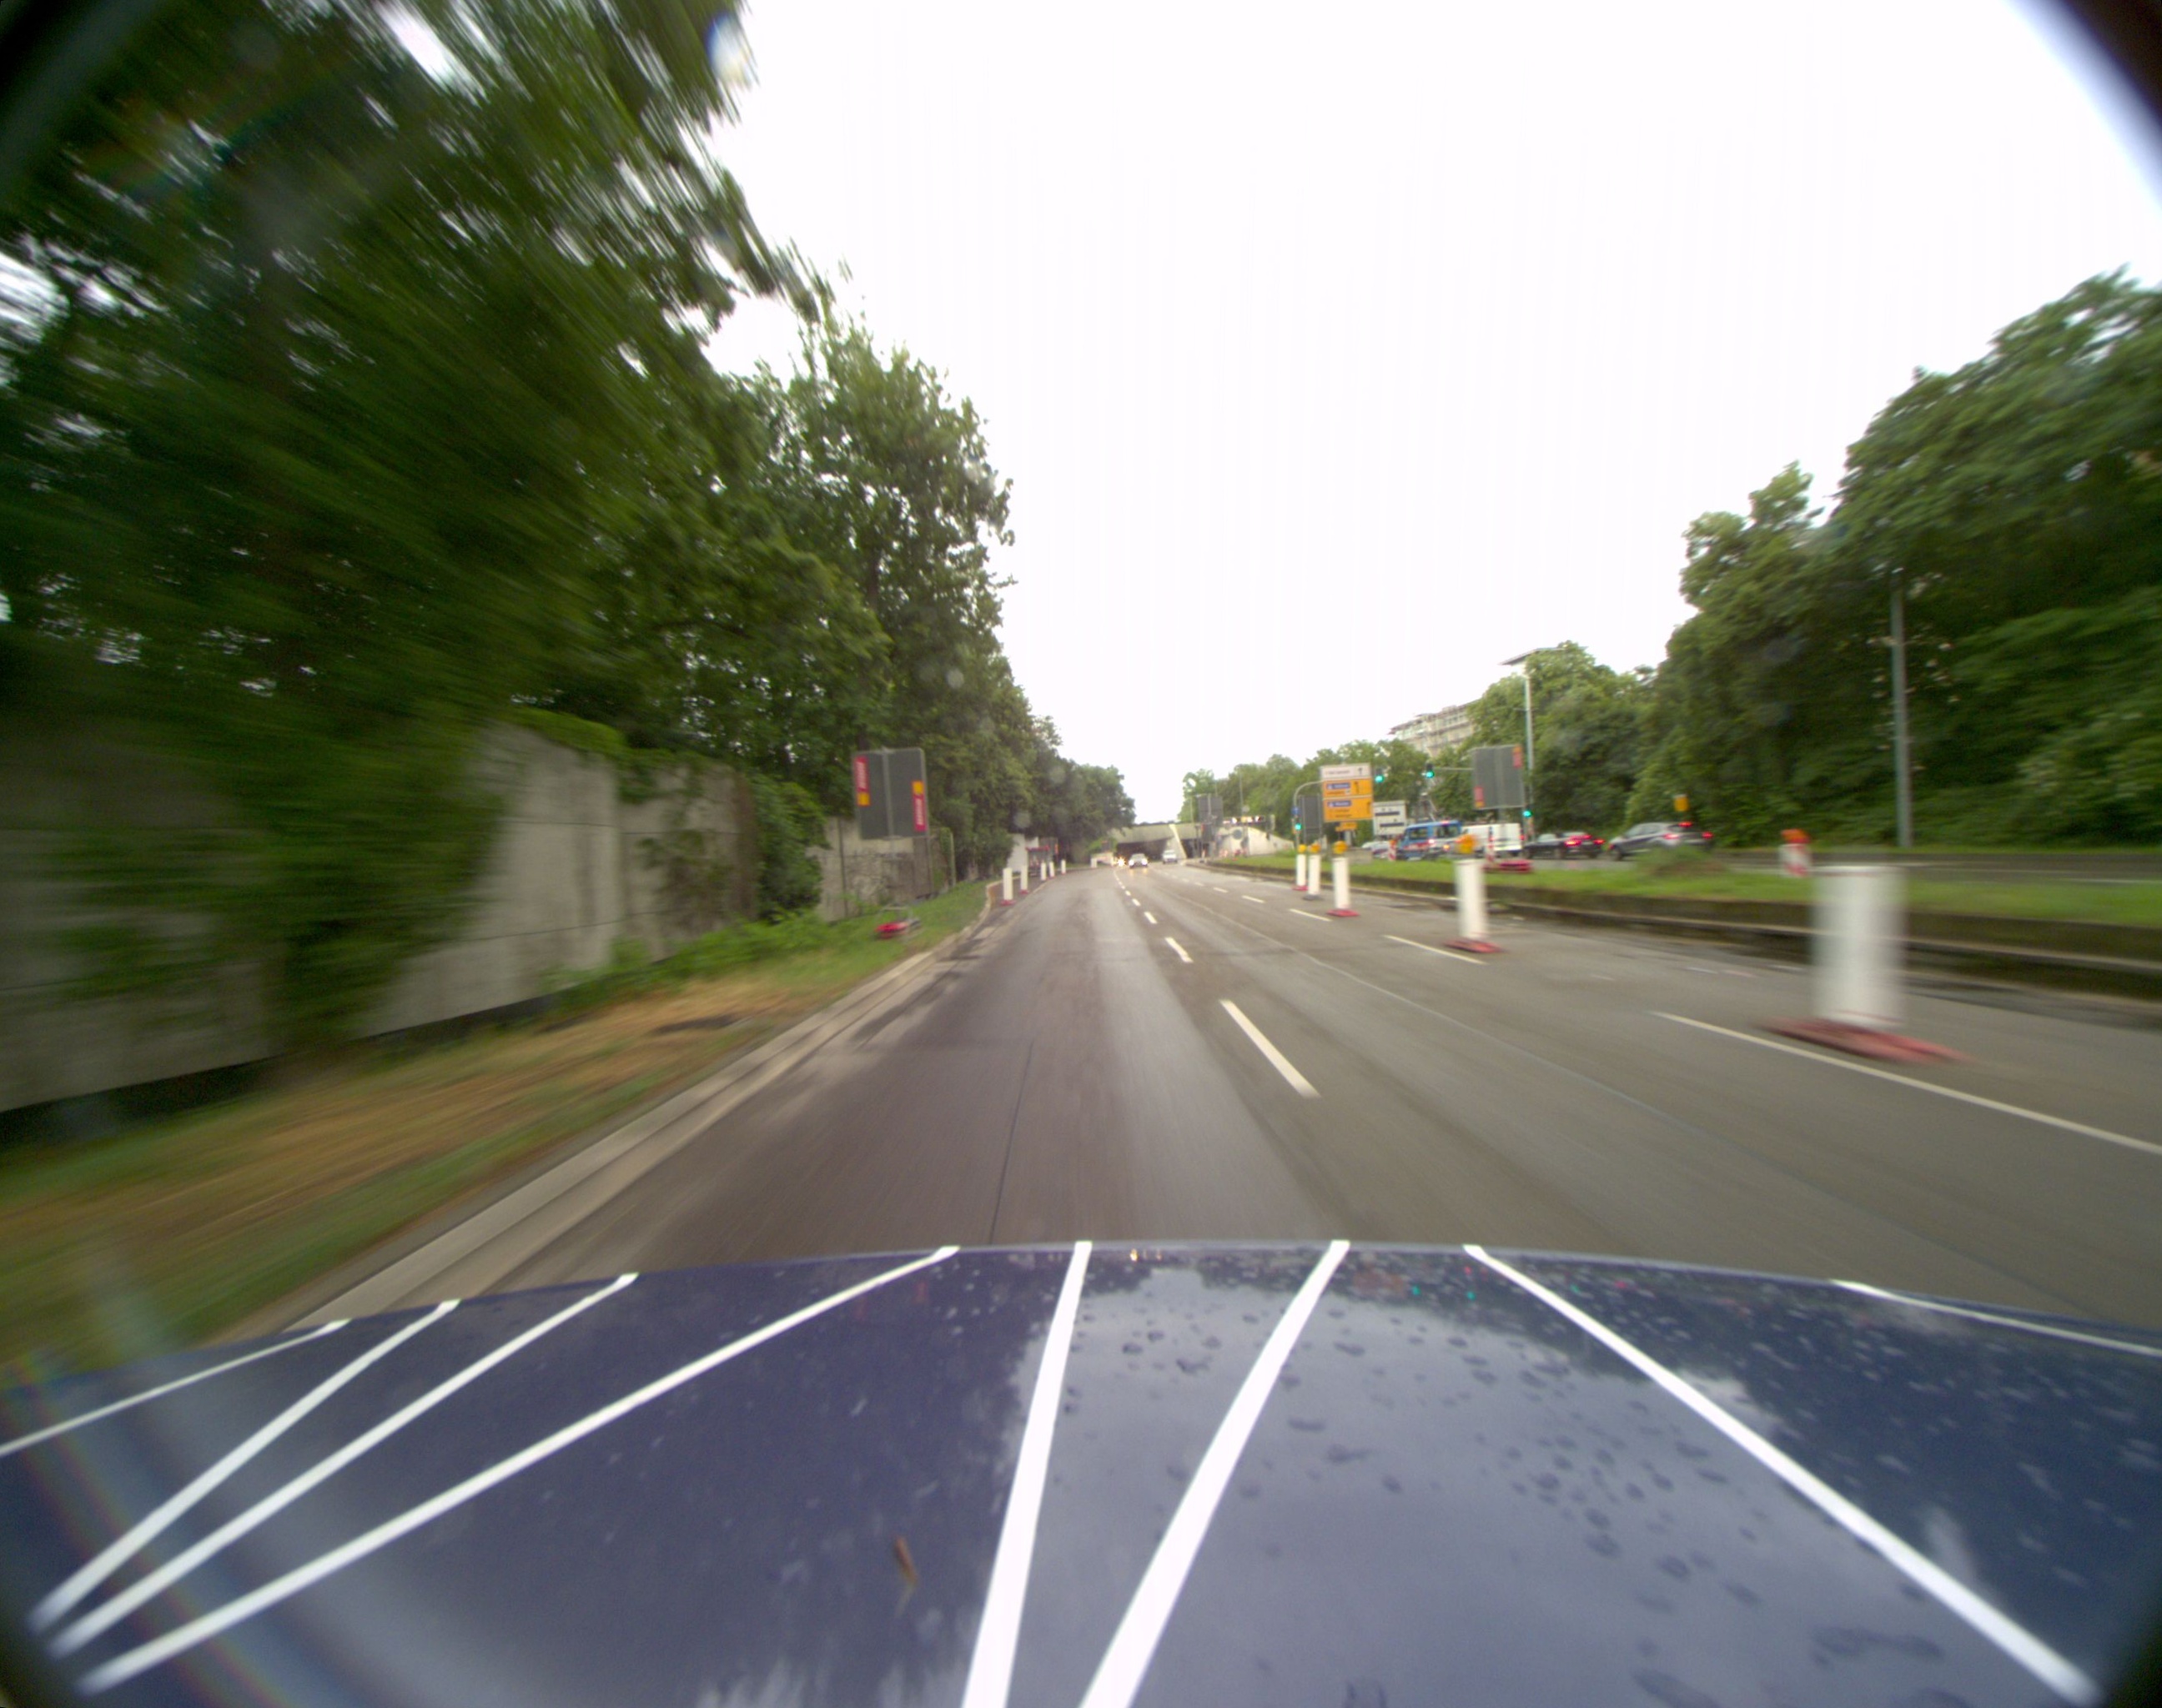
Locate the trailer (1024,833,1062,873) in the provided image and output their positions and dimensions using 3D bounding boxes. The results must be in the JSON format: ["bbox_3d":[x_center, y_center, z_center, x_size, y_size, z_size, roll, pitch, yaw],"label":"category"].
[{"bbox_3d":[-3.511,-0.158,71.691,2.312,3.568,5.962,-2,1,8],"label":"trailer"}]

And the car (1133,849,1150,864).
[{"bbox_3d":[6.350,0.258,79.601,1.697,1.393,3.826,-3,0,5],"label":"car"}]

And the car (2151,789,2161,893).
[{"bbox_3d":[19.209,-0.287,10.515,1.919,1.771,4.833,-4,0,0],"label":"car"}]

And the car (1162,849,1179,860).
[{"bbox_3d":[10.970,0.024,93.179,1.698,1.300,3.825,-3,0,1],"label":"car"}]

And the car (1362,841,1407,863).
[{"bbox_3d":[18.474,-0.160,46.447,1.552,1.193,4.649,-4,1,10],"label":"car"}]

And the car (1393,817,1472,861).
[{"bbox_3d":[21.569,-0.840,47.006,2.200,2.376,6.246,-4,-1,4],"label":"car"}]

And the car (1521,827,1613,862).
[{"bbox_3d":[23.929,-0.480,37.654,1.797,1.514,4.635,-4,1,4],"label":"car"}]

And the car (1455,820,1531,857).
[{"bbox_3d":[24.797,-0.880,45.988,2.039,1.962,4.992,-4,0,4],"label":"car"}]

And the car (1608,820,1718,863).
[{"bbox_3d":[23.339,-0.503,30.645,1.675,1.514,3.790,-4,1,4],"label":"car"}]

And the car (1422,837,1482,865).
[{"bbox_3d":[17.706,-0.141,36.408,1.433,1.193,3.300,-4,1,4],"label":"car"}]
